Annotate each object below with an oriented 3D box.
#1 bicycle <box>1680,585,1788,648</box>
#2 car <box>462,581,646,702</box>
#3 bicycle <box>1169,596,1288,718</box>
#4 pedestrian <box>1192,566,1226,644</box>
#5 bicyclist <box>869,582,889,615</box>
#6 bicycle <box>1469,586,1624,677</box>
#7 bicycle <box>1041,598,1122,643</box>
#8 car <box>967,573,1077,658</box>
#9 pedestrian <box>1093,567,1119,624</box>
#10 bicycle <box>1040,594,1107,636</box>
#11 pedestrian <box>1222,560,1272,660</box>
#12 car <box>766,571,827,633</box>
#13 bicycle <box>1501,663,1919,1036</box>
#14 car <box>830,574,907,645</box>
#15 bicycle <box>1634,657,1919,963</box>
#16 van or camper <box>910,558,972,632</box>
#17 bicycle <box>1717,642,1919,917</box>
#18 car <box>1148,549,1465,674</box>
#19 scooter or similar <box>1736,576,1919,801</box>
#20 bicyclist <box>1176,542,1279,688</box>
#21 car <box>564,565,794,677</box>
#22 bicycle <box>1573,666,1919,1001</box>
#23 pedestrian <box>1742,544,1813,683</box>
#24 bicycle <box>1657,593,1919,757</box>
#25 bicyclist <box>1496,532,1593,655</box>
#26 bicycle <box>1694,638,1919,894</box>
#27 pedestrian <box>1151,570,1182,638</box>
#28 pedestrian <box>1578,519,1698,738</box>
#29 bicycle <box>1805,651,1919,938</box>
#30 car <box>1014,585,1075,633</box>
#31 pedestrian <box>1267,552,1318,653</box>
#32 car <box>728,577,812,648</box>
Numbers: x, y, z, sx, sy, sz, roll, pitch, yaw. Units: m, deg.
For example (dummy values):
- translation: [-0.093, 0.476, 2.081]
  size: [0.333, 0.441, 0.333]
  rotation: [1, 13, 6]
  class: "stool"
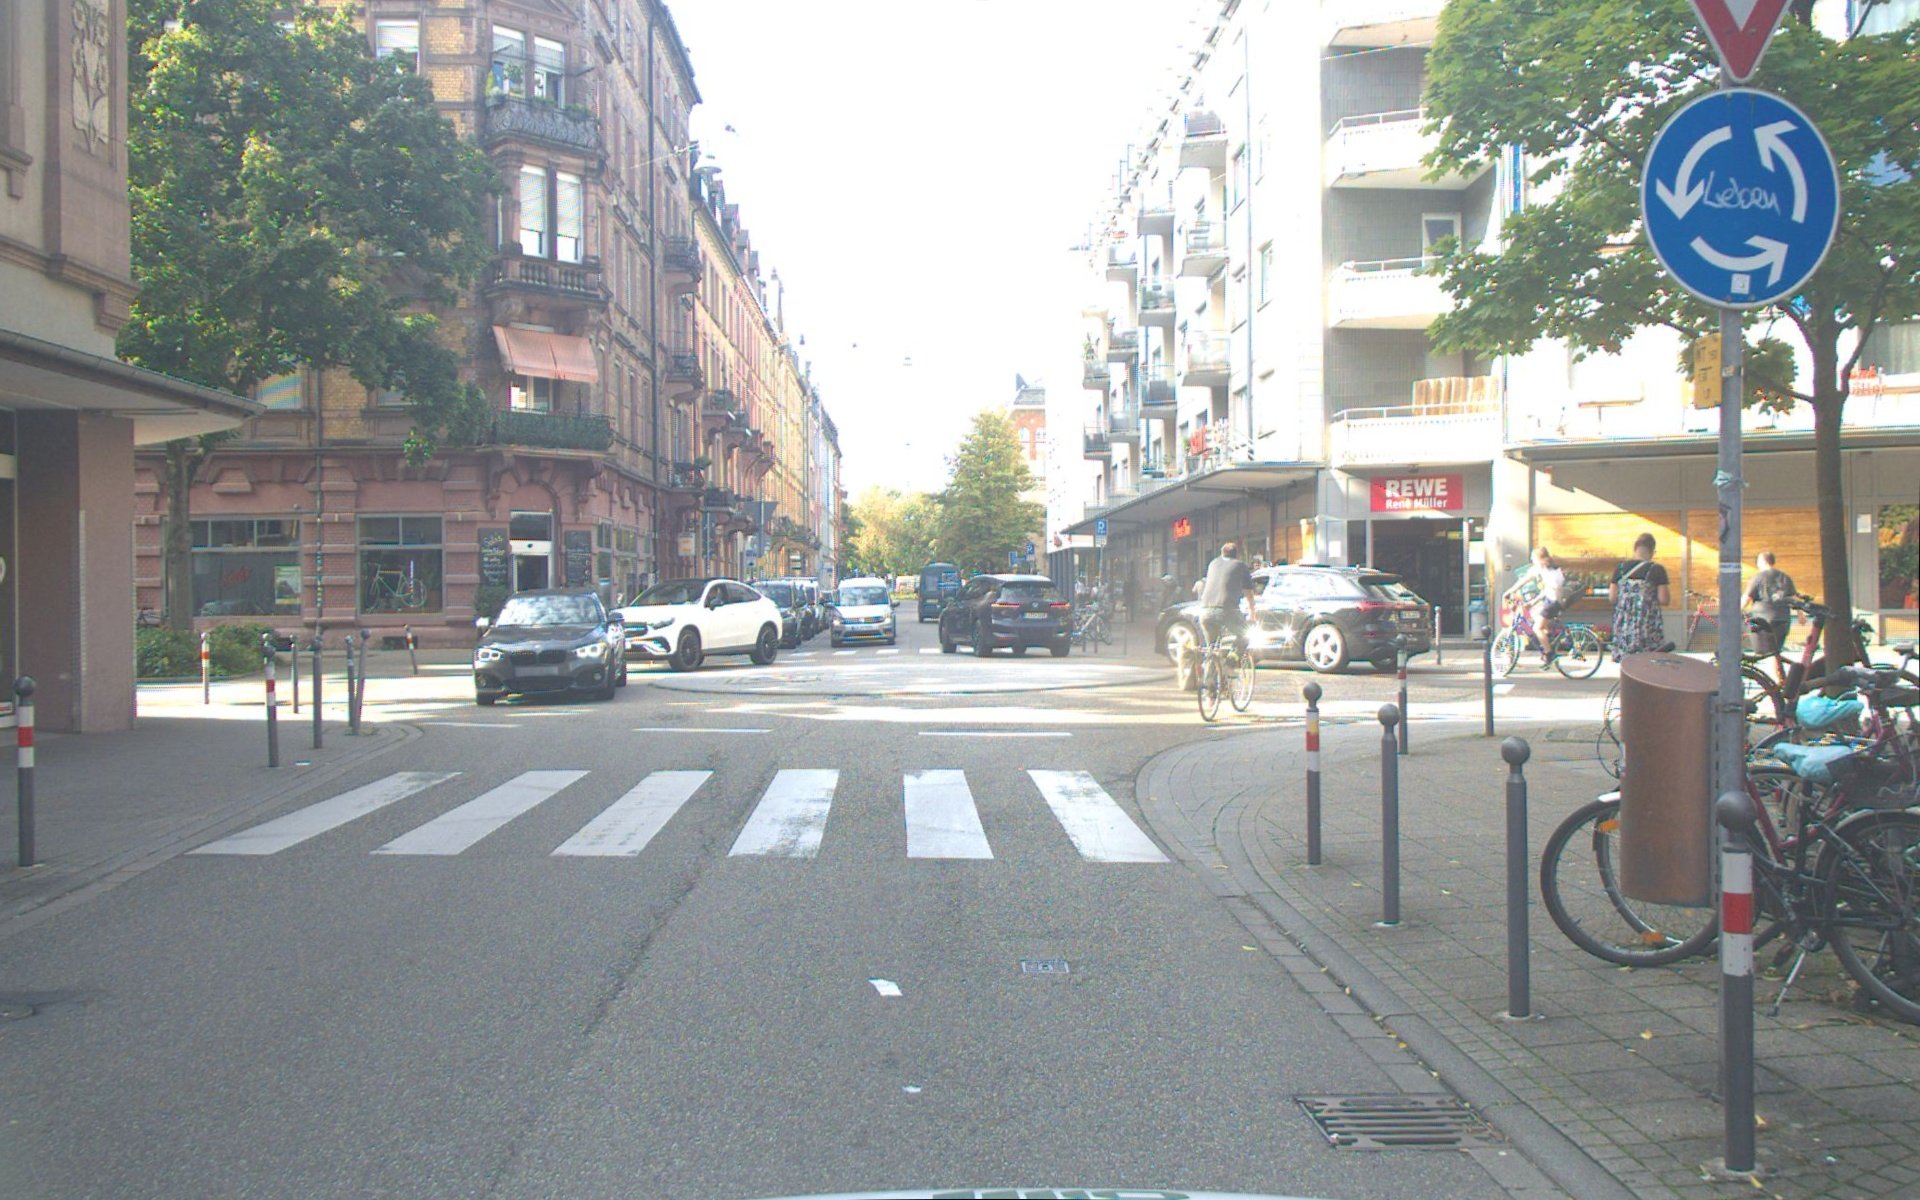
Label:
- translation: [13.535, 0.281, 28.956]
  size: [1.652, 1.069, 0.456]
  rotation: [0, 0, 38]
  class: "bicycle"
- translation: [-5.318, 0.523, 22.164]
  size: [1.715, 1.461, 4.207]
  rotation: [0, 0, -4]
  class: "car"
- translation: [2.913, 0.567, 17.728]
  size: [0.652, 1.198, 2.496]
  rotation: [1, 0, 23]
  class: "bicycle"
- translation: [5.646, 0.111, 37.512]
  size: [0.725, 1.742, 0.734]
  rotation: [-1, 0, 9]
  class: "pedestrian"
- translation: [-5.077, -0.104, 103.711]
  size: [1.111, 2.032, 1.027]
  rotation: [2, 0, -6]
  class: "bicyclist"
- translation: [8.263, 0.432, 23.356]
  size: [1.940, 1.220, 0.708]
  rotation: [0, 0, 43]
  class: "bicycle"
- translation: [2.986, 0.506, 40.831]
  size: [1.959, 1.063, 0.532]
  rotation: [-1, 0, 1]
  class: "bicycle"
- translation: [1.241, 0.287, 34.848]
  size: [1.954, 1.646, 3.998]
  rotation: [-1, 0, -3]
  class: "car"
- translation: [4.955, -0.164, 56.102]
  size: [0.715, 1.897, 1.063]
  rotation: [-1, 0, 13]
  class: "pedestrian"
- translation: [2.977, 0.374, 43.301]
  size: [1.773, 1.044, 0.671]
  rotation: [-1, 0, -40]
  class: "bicycle"
- translation: [5.455, 0.188, 31.427]
  size: [0.850, 1.883, 0.613]
  rotation: [-1, 0, 3]
  class: "pedestrian"
- translation: [-5.683, 0.062, 57.809]
  size: [1.954, 2.049, 3.997]
  rotation: [-1, 0, -4]
  class: "car"
- translation: [2.784, 0.778, 5.635]
  size: [0.542, 1.058, 1.837]
  rotation: [-4, 1, -31]
  class: "bicycle"
- translation: [-2.494, 0.228, 45.910]
  size: [1.756, 1.822, 4.736]
  rotation: [-2, 0, 1]
  class: "car"
- translation: [3.488, 0.769, 6.164]
  size: [0.343, 1.058, 1.999]
  rotation: [-4, 1, -28]
  class: "bicycle"
- translation: [-0.871, -0.235, 72.732]
  size: [2.481, 3.090, 4.455]
  rotation: [-1, 0, -4]
  class: "van or camper"
- translation: [4.028, 0.714, 6.585]
  size: [0.439, 1.058, 1.886]
  rotation: [-4, 1, -30]
  class: "bicycle"
- translation: [5.450, 0.149, 26.544]
  size: [2.023, 1.754, 4.777]
  rotation: [-4, 2, -39]
  class: "car"
- translation: [5.362, 0.509, 9.942]
  size: [1.219, 1.296, 0.664]
  rotation: [-1, 0, 23]
  class: "scooter or similar"
- translation: [2.850, 0.149, 17.590]
  size: [0.914, 1.510, 0.747]
  rotation: [1, 0, 24]
  class: "bicyclist"
- translation: [-5.011, 0.317, 30.269]
  size: [1.902, 1.752, 4.851]
  rotation: [-1, 2, 21]
  class: "car"
- translation: [3.151, 0.800, 5.974]
  size: [0.455, 1.058, 1.838]
  rotation: [-4, 1, -30]
  class: "bicycle"
- translation: [10.597, 0.171, 21.451]
  size: [0.615, 1.769, 0.776]
  rotation: [-1, 0, 10]
  class: "pedestrian"
- translation: [6.066, 0.522, 11.815]
  size: [1.884, 1.113, 0.653]
  rotation: [-1, 0, 3]
  class: "bicycle"
- translation: [8.255, -0.094, 23.357]
  size: [0.998, 1.697, 0.938]
  rotation: [-1, 0, 43]
  class: "bicyclist"
- translation: [4.179, 0.708, 7.176]
  size: [0.384, 1.058, 1.901]
  rotation: [-4, 1, -30]
  class: "bicycle"
- translation: [5.130, 0.092, 41.079]
  size: [0.729, 1.657, 0.813]
  rotation: [-1, 0, 9]
  class: "pedestrian"
- translation: [5.847, 0.232, 14.249]
  size: [0.768, 1.811, 0.790]
  rotation: [-1, 0, 36]
  class: "pedestrian"
- translation: [3.993, 0.733, 5.889]
  size: [0.343, 1.058, 1.839]
  rotation: [-4, 1, -28]
  class: "bicycle"
- translation: [2.584, 0.255, 51.300]
  size: [1.612, 1.347, 3.576]
  rotation: [-3, 0, 0]
  class: "car"
- translation: [6.300, 0.051, 31.357]
  size: [0.850, 1.883, 0.613]
  rotation: [-1, 0, 3]
  class: "pedestrian"
- translation: [-5.225, 0.308, 46.017]
  size: [1.746, 1.754, 4.446]
  rotation: [1, 2, 1]
  class: "car"
